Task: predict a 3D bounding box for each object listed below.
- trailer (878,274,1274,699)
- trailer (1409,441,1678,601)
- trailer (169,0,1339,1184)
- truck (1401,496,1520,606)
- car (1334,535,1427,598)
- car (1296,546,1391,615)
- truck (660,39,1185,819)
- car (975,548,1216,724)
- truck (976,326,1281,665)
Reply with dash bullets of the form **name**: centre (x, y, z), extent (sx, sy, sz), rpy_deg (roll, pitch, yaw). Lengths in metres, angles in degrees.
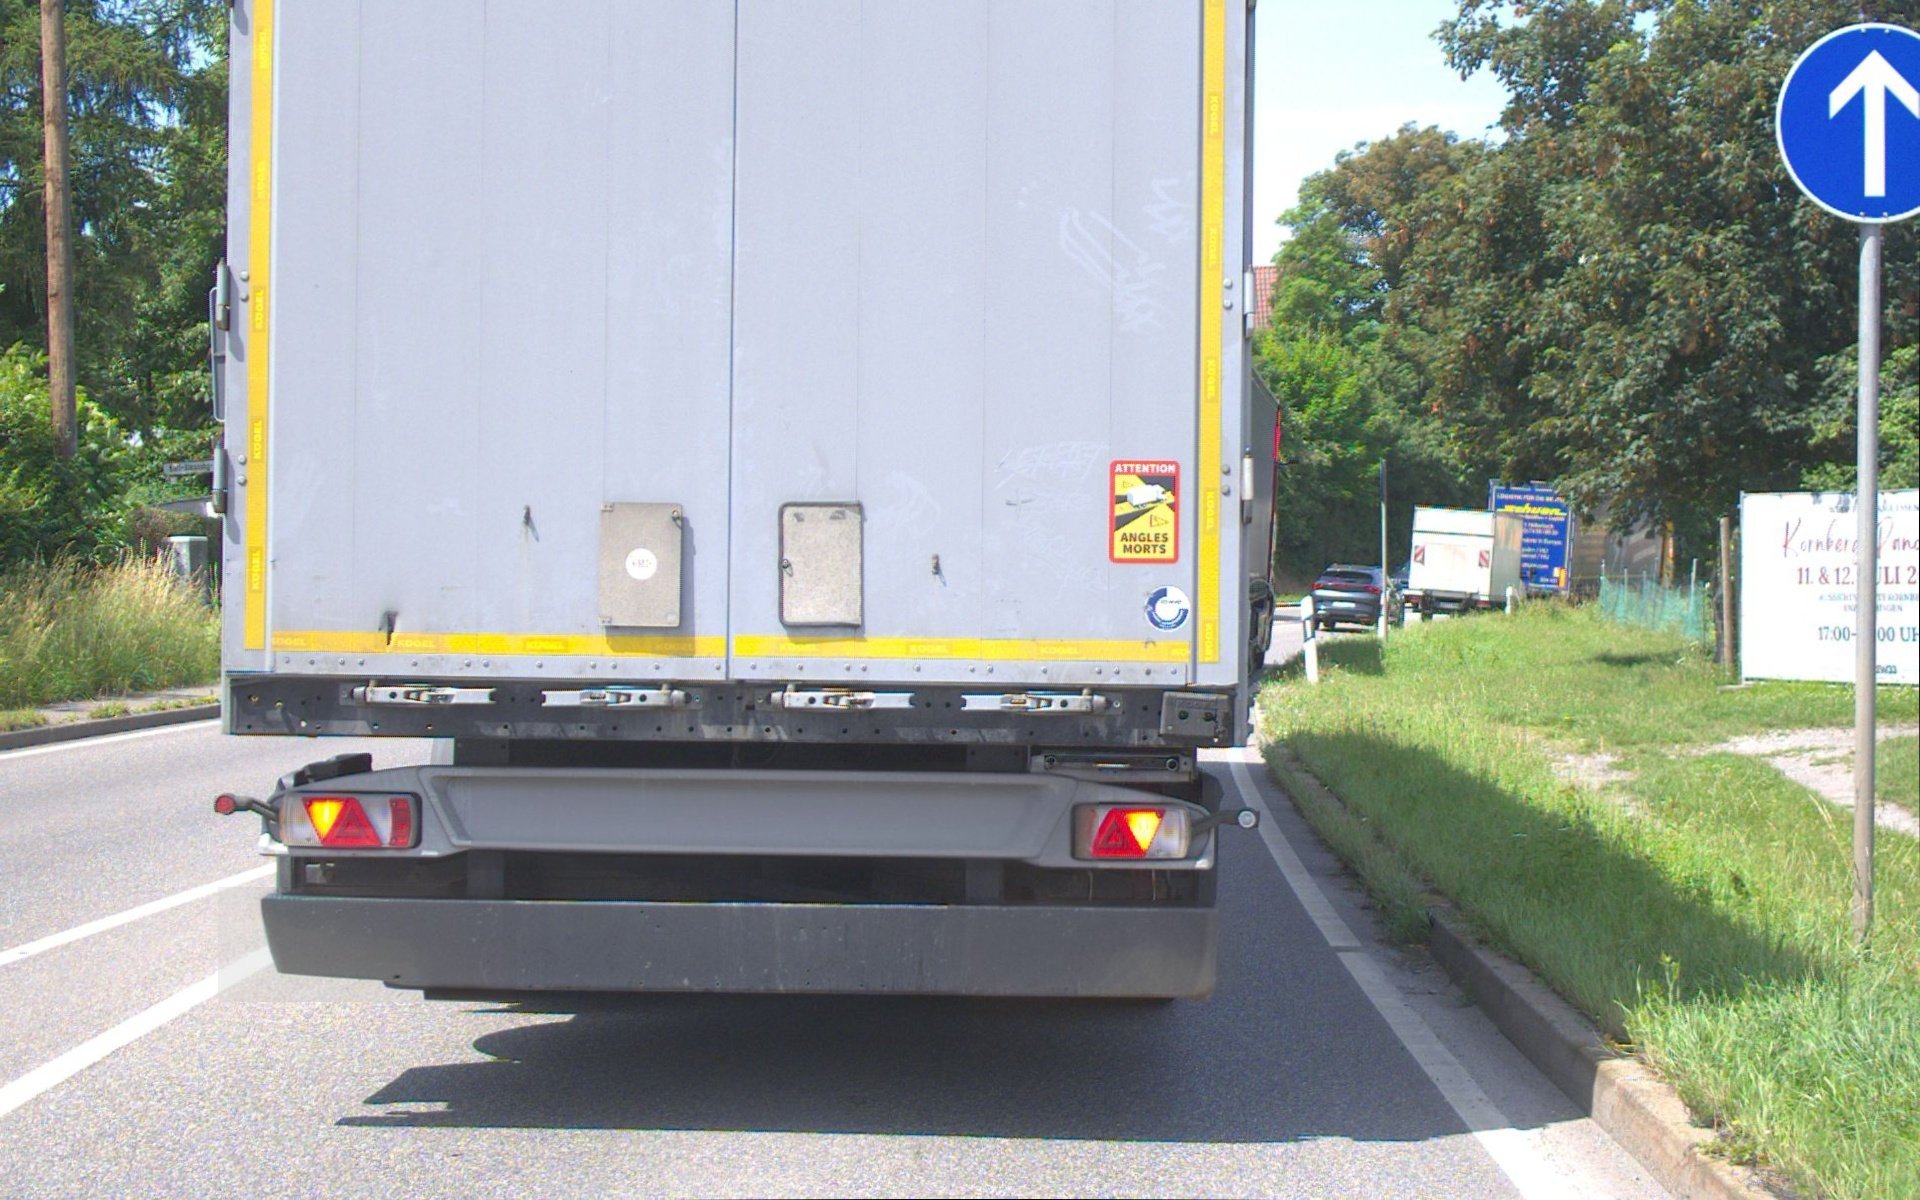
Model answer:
- **trailer**: centre (1.804, -1.314, 43.039), extent (3.892, 4.505, 12.710), rpy_deg (0, 1, 7)
- **trailer**: centre (18.491, -2.491, 107.500), extent (5.185, 4.612, 15.879), rpy_deg (1, 2, 21)
- **trailer**: centre (-0.299, -0.871, 14.230), extent (2.787, 4.191, 12.111), rpy_deg (0, 2, 2)
- **truck**: centre (13.340, -1.346, 91.370), extent (2.422, 2.828, 5.408), rpy_deg (1, 2, 16)
- **car**: centre (12.877, -1.047, 105.133), extent (1.995, 1.831, 3.996), rpy_deg (1, 1, 19)
- **car**: centre (8.826, -0.463, 78.834), extent (1.842, 1.481, 3.998), rpy_deg (1, 1, 11)
- **truck**: centre (-0.011, -0.998, 21.474), extent (2.746, 4.151, 6.142), rpy_deg (1, 1, 4)
- **car**: centre (1.362, 0.293, 32.917), extent (1.994, 1.525, 3.999), rpy_deg (0, 1, 7)
- **truck**: centre (2.597, -1.468, 49.975), extent (3.938, 4.559, 7.150), rpy_deg (0, 1, 7)
